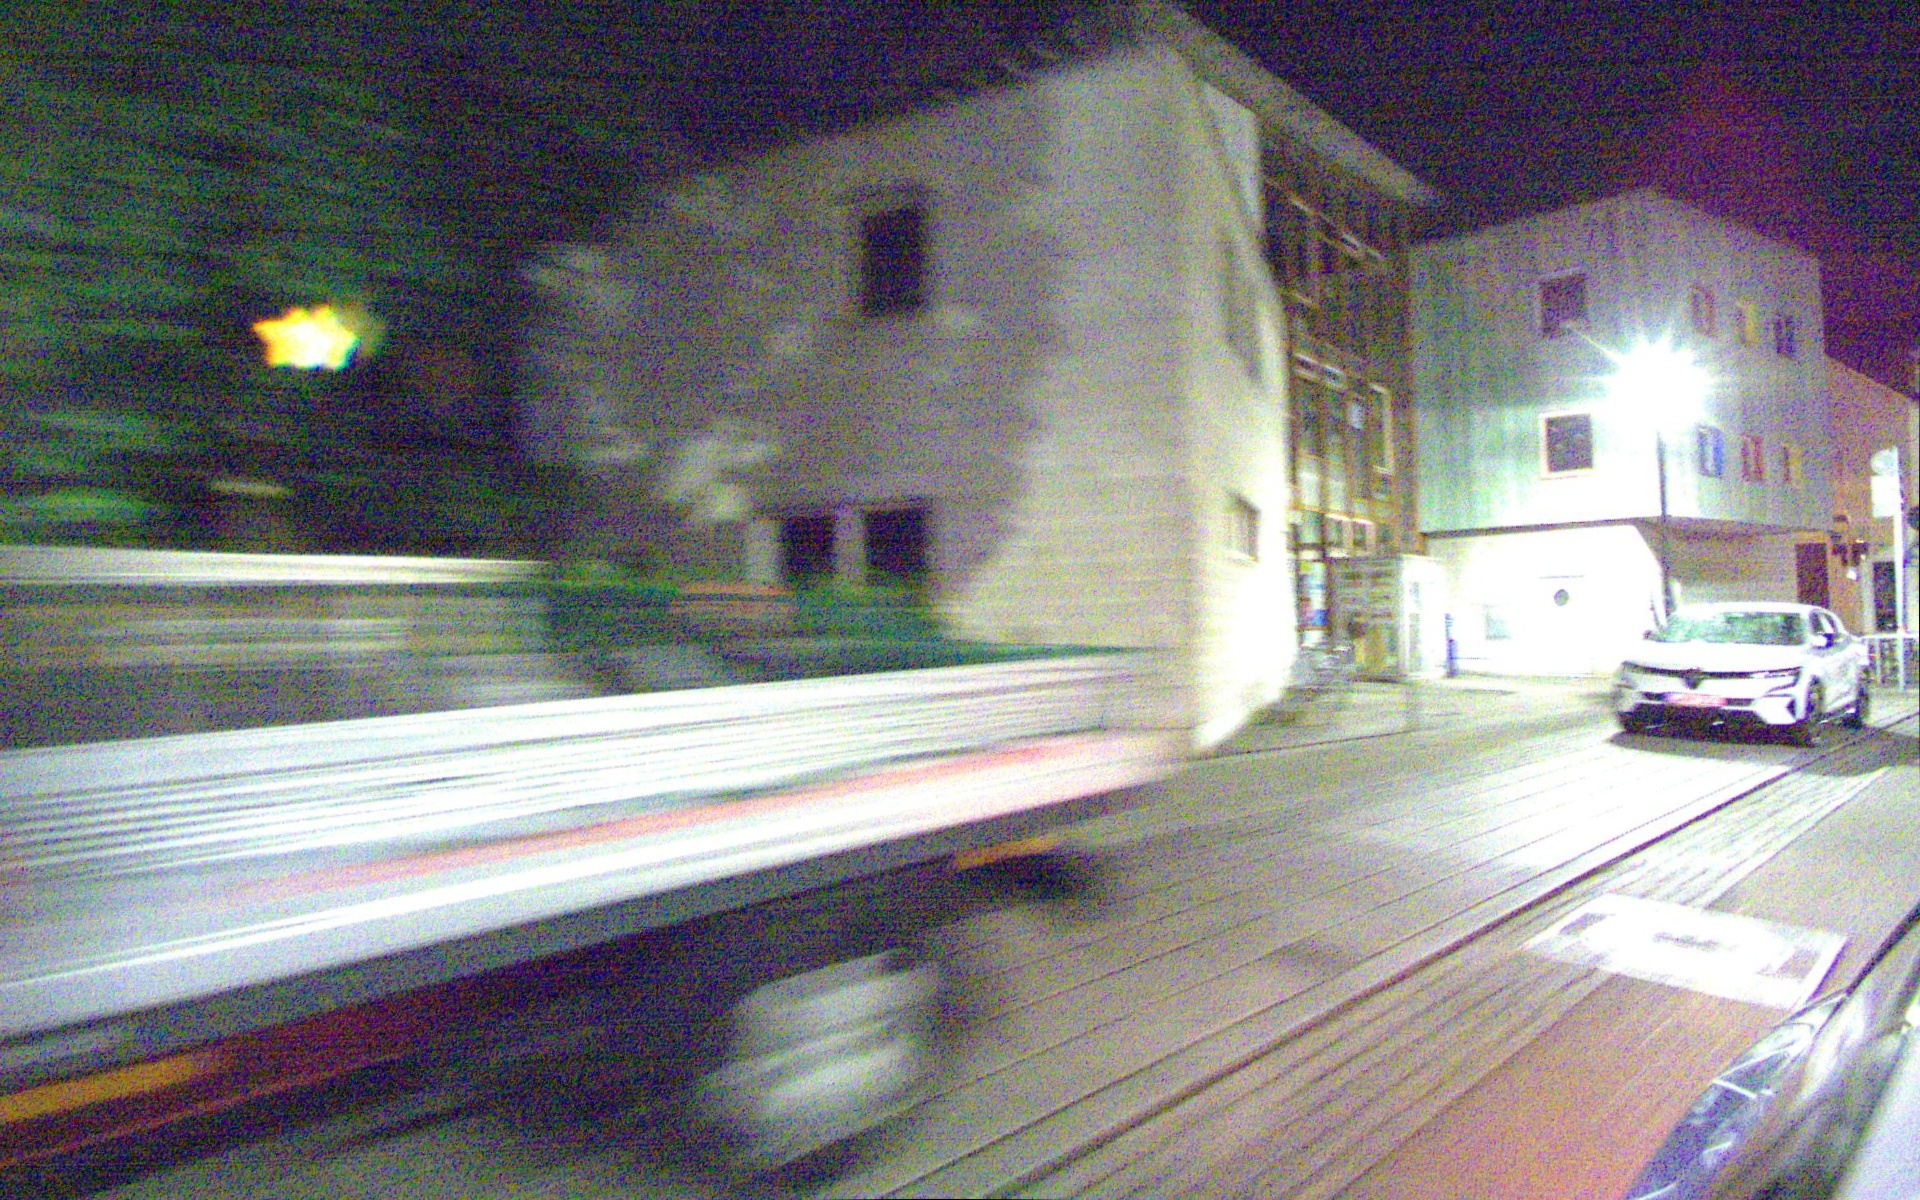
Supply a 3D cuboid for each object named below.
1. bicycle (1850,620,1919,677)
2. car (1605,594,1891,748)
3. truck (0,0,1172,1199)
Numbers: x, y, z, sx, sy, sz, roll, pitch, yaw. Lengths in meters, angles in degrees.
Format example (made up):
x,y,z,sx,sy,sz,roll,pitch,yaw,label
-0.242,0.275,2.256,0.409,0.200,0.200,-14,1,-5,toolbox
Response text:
x,y,z,sx,sy,sz,roll,pitch,yaw,label
18.156,0.923,19.282,0.340,1.076,1.756,0,-2,-41,bicycle
9.311,0.692,11.863,3.986,1.510,1.793,0,0,-39,car
-2.248,0.201,2.260,5.678,2.342,2.340,0,-1,-41,truck
